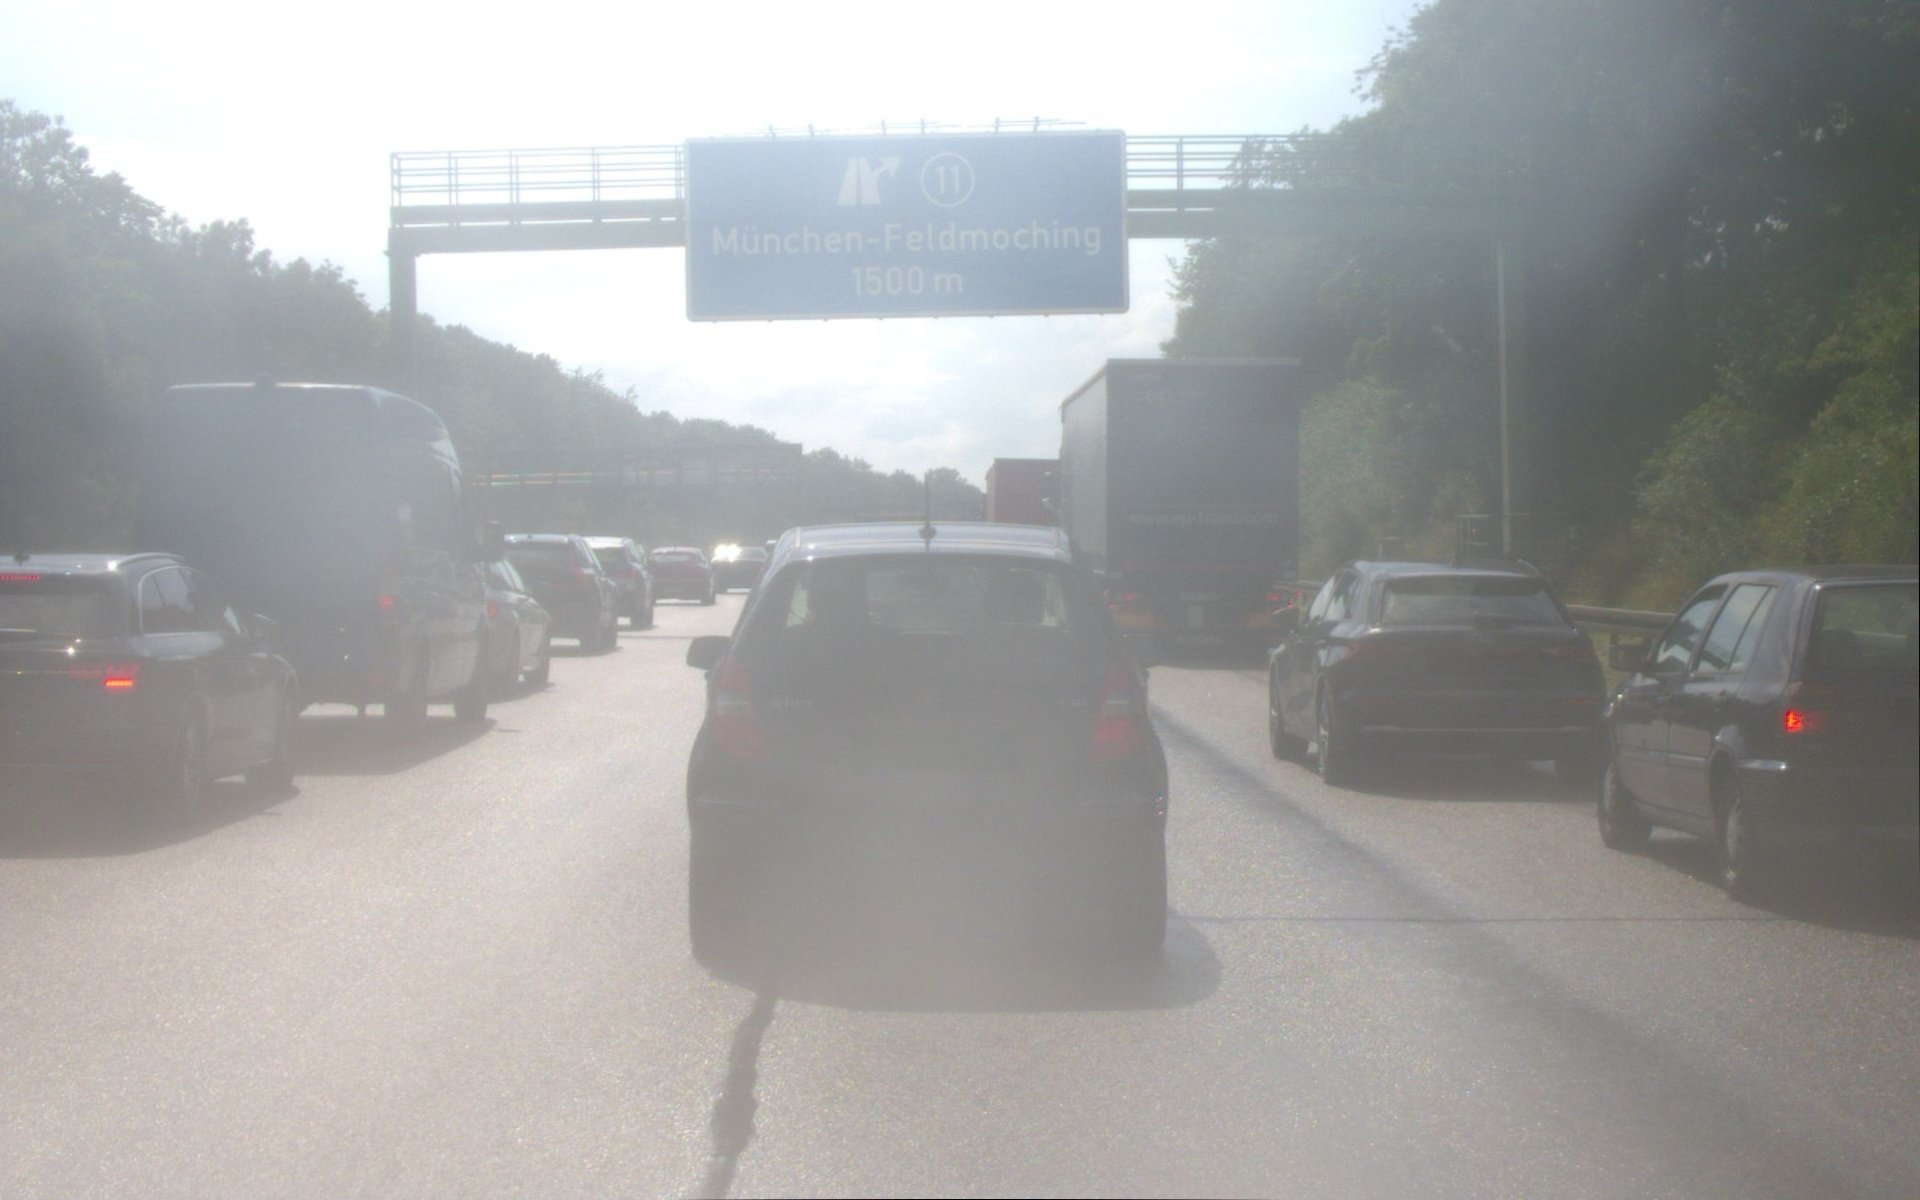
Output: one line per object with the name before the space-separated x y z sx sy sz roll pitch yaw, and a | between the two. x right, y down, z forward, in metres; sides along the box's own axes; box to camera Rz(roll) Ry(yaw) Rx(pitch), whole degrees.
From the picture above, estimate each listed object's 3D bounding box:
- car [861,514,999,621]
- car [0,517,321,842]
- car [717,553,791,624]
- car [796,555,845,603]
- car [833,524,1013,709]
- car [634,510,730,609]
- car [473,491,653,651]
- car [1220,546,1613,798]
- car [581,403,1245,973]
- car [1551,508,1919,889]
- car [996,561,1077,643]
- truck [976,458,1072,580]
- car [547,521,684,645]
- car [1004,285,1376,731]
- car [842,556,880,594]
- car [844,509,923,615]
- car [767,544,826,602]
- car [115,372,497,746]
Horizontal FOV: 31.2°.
car | -0.488 -0.484 51.137 1.864 1.511 3.976 1 1 -3
car | -4.950 0.351 18.925 1.993 1.559 4.756 1 1 0
car | -6.335 -0.376 106.066 1.993 2.108 4.889 1 1 0
car | -6.268 -0.959 154.763 1.993 2.108 4.889 1 1 0
car | -0.434 0.144 35.727 1.692 1.798 3.976 1 1 -3
car | -6.963 -1.016 86.608 1.993 2.377 5.260 1 1 0
car | -5.529 -0.413 48.426 1.993 2.108 4.889 1 1 0
car | 2.928 0.417 22.876 1.864 1.511 3.976 1 1 -3
car | -0.261 0.283 14.306 2.274 1.948 4.822 1 1 -2
car | 3.913 0.377 15.700 1.590 1.511 3.976 1 1 -2
car | 2.037 0.027 92.672 1.993 2.108 4.889 1 1 0
truck | 1.939 -2.469 106.415 2.775 3.619 5.917 1 1 0
car | -6.155 -0.318 61.953 1.993 2.108 4.889 1 1 0
car | 3.132 -1.293 53.628 4.403 5.810 16.819 1 1 -1
car | -5.618 -1.435 195.342 1.993 2.108 4.889 1 1 0
car | -2.022 -1.017 92.282 1.993 2.737 5.260 1 1 0
car | -6.138 -1.035 129.285 1.993 2.108 4.889 1 1 0
car | -4.959 -0.316 26.823 1.993 2.606 5.260 1 1 0
